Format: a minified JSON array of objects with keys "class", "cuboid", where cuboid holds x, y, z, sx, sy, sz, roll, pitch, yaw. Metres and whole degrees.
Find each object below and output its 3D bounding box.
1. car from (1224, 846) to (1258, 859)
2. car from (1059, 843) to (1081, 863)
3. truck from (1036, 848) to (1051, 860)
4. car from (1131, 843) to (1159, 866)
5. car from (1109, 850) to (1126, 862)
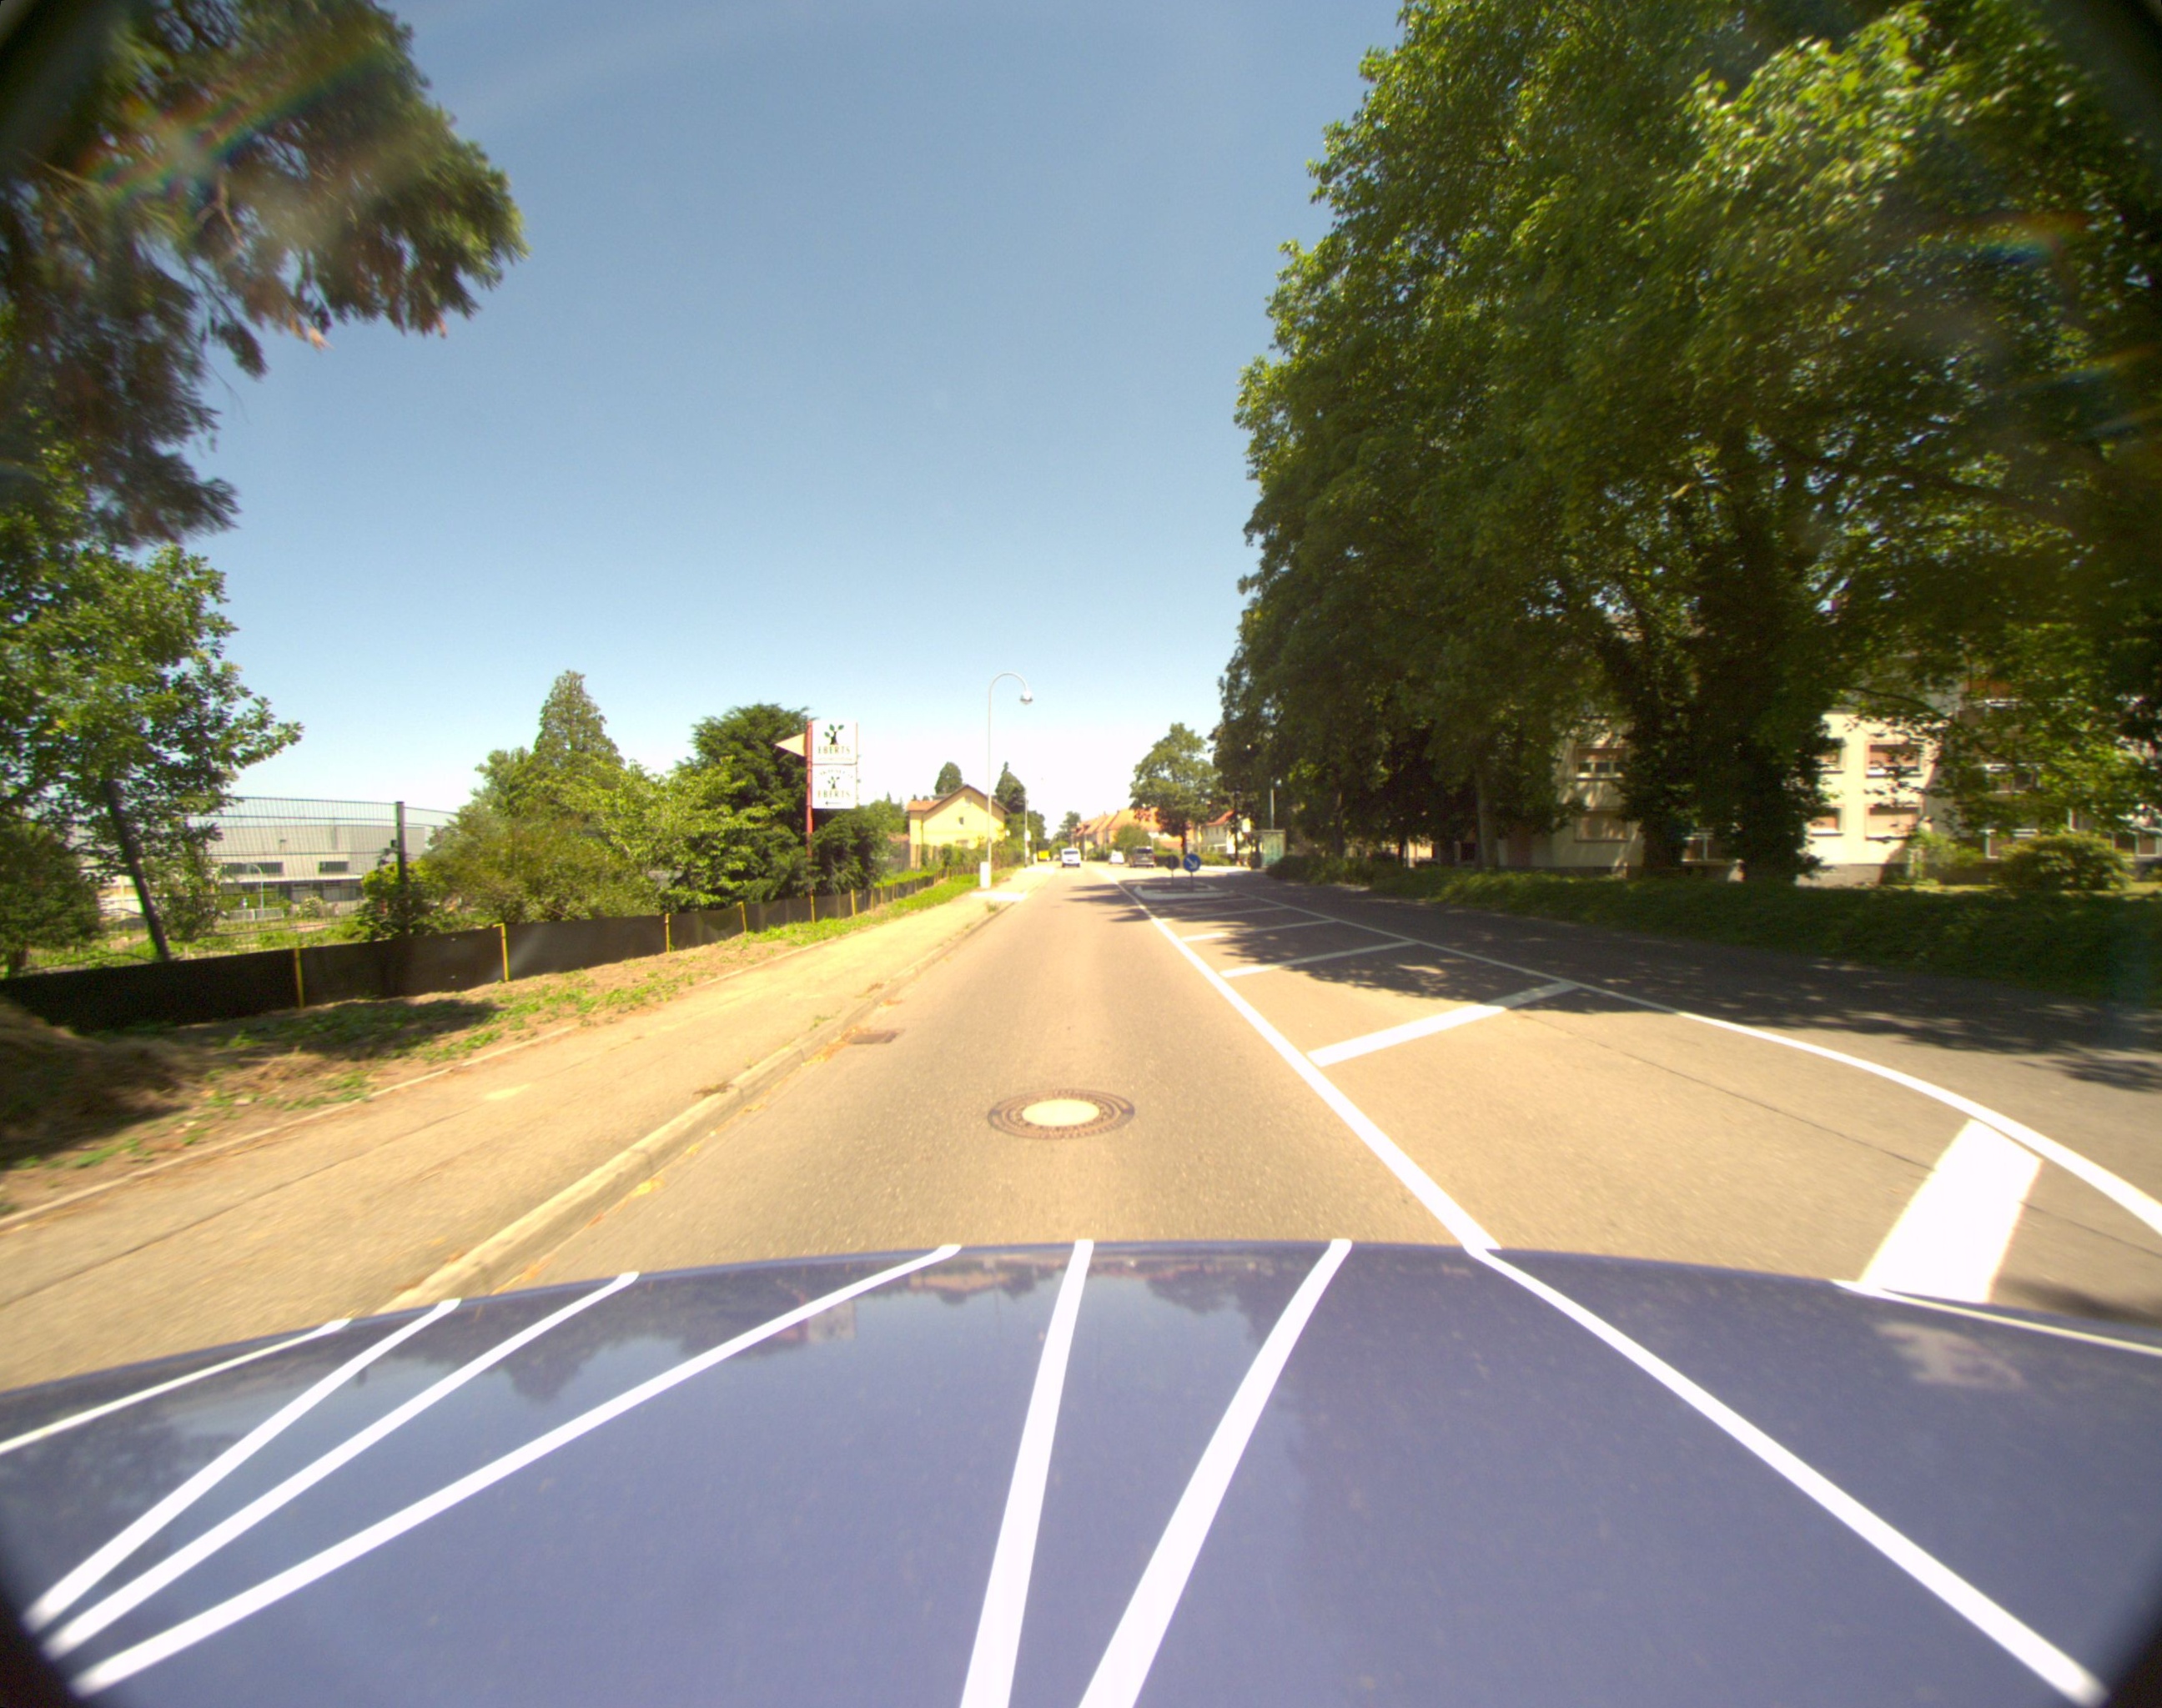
[{"class":"car","cuboid":[19.056,-0.174,90.317,3.694,1.442,1.552,0,1,-20]},{"class":"car","cuboid":[-1.184,-0.082,81.417,1.999,2.002,4.384,-2,0,-5]},{"class":"truck","cuboid":[-7.731,-0.016,155.520,2.020,2.295,6.170,-4,0,-11]},{"class":"car","cuboid":[5.956,0.033,70.895,1.999,1.899,4.988,-2,2,-2]},{"class":"car","cuboid":[4.653,0.242,97.180,1.695,1.451,3.638,-2,0,-3]}]
